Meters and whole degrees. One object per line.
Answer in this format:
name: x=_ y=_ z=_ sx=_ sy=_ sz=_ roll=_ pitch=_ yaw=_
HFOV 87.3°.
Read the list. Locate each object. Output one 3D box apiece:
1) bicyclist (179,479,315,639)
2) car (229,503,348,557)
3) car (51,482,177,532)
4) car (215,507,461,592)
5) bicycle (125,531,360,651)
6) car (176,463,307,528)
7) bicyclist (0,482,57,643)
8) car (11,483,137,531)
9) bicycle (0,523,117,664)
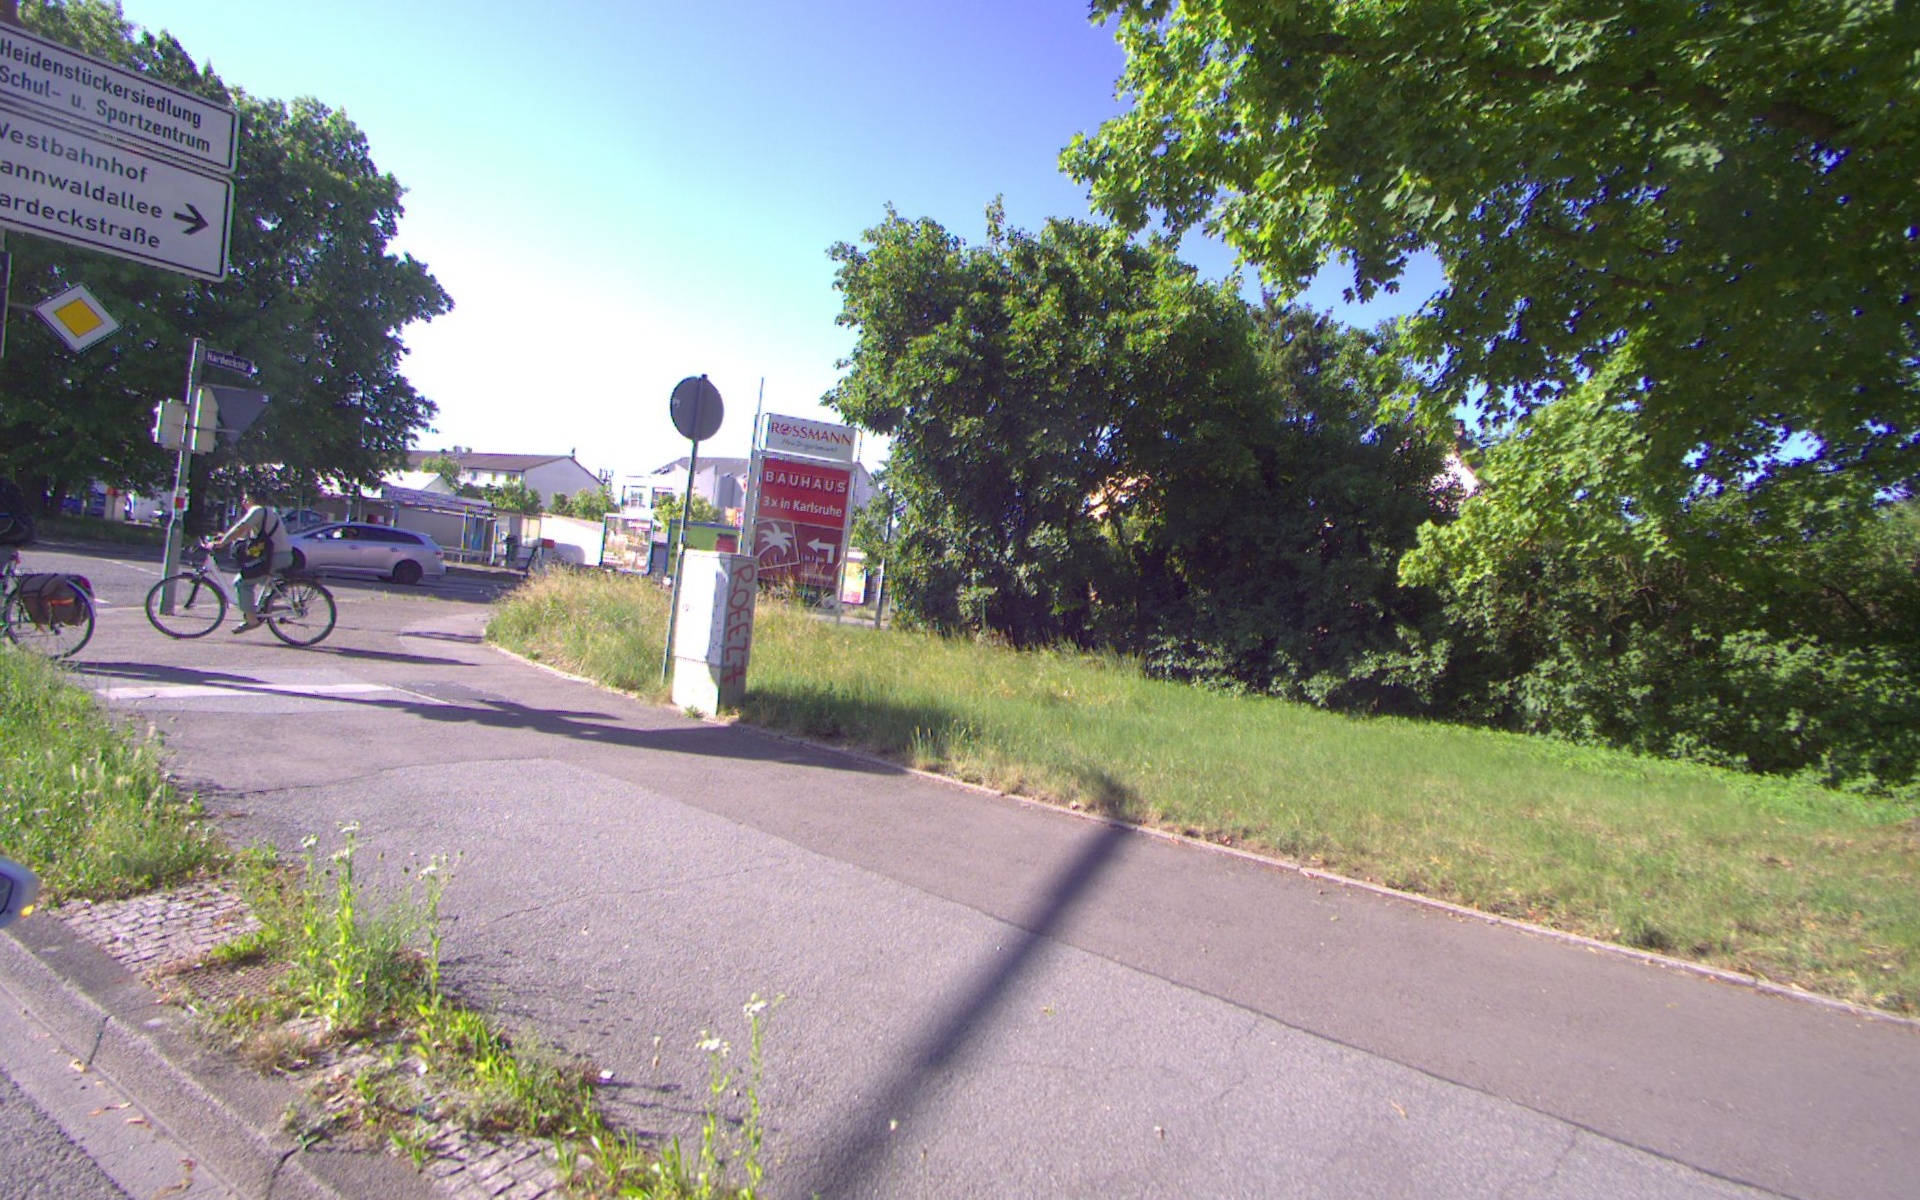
bicyclist: x=-7.700 y=-0.431 z=10.900 sx=0.980 sy=1.602 sz=0.579 roll=4 pitch=2 yaw=-12
car: x=-27.508 y=-2.816 z=41.367 sx=1.712 sy=1.701 sz=4.001 roll=6 pitch=0 yaw=9
car: x=-36.391 y=-3.961 z=43.414 sx=1.712 sy=1.537 sz=3.902 roll=6 pitch=0 yaw=9
car: x=-15.897 y=-1.245 z=25.933 sx=1.973 sy=1.504 sz=4.993 roll=7 pitch=0 yaw=43
bicycle: x=-7.729 y=-0.091 z=10.910 sx=1.954 sy=1.112 sz=0.579 roll=4 pitch=2 yaw=-12
car: x=-29.438 y=-4.244 z=41.372 sx=1.962 sy=1.769 sz=4.007 roll=7 pitch=-3 yaw=9
bicyclist: x=-8.152 y=-0.335 z=8.322 sx=0.815 sy=1.294 sz=0.536 roll=4 pitch=2 yaw=-12
car: x=-39.199 y=-4.082 z=44.648 sx=1.712 sy=1.537 sz=3.902 roll=6 pitch=0 yaw=9
bicycle: x=-8.175 y=-0.098 z=8.330 sx=1.746 sy=1.112 sz=0.536 roll=4 pitch=2 yaw=-12
